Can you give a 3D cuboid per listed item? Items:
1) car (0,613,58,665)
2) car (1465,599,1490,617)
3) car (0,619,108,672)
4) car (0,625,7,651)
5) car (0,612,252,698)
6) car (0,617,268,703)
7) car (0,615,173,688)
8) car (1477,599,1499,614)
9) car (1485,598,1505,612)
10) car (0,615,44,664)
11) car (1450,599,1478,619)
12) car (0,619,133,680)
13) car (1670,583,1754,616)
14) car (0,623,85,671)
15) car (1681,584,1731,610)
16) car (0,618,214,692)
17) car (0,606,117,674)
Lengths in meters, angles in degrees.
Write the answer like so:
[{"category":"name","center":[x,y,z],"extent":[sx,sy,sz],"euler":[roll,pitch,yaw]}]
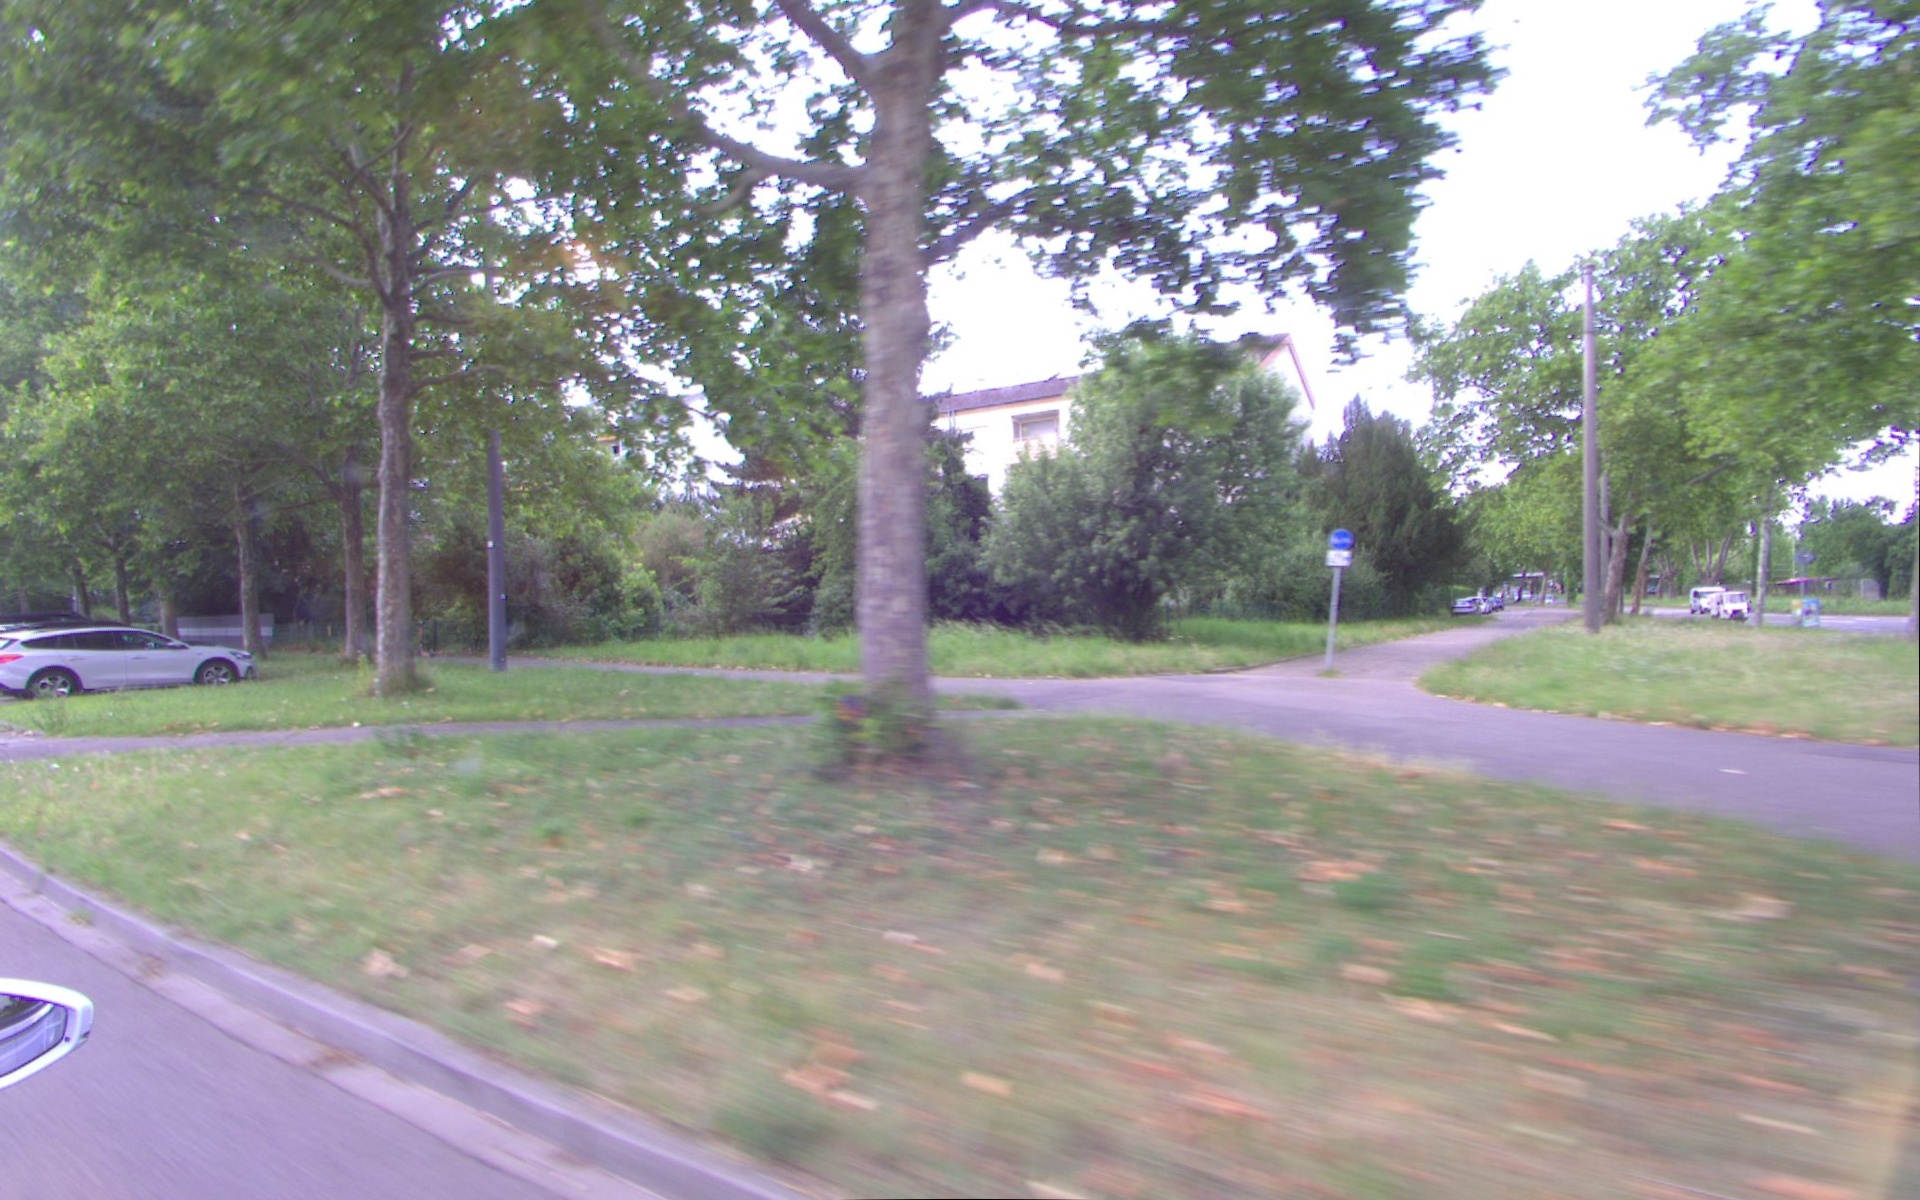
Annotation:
[{"category":"car","center":[-38.828,1.596,39.519],"extent":[1.833,2.027,4.526],"euler":[-1,1,38]},{"category":"car","center":[42.507,0.613,82.252],"extent":[1.655,1.409,3.289],"euler":[-1,0,31]},{"category":"car","center":[-34.479,1.694,36.857],"extent":[1.835,1.790,4.521],"euler":[-1,1,41]},{"category":"car","center":[-63.633,2.511,63.372],"extent":[1.833,1.630,4.526],"euler":[-1,0,38]},{"category":"car","center":[-19.344,1.185,23.034],"extent":[1.825,1.648,4.638],"euler":[-1,1,38]},{"category":"car","center":[-17.830,1.200,21.412],"extent":[1.825,1.493,4.638],"euler":[-1,1,38]},{"category":"car","center":[-23.513,1.324,26.213],"extent":[1.738,1.661,4.354],"euler":[-1,1,44]},{"category":"car","center":[50.501,0.618,95.816],"extent":[1.655,1.409,3.289],"euler":[-1,0,31]},{"category":"car","center":[54.937,0.515,102.721],"extent":[1.655,1.409,3.289],"euler":[-1,0,31]},{"category":"car","center":[-42.205,1.743,42.556],"extent":[1.833,2.070,4.526],"euler":[-1,1,38]},{"category":"car","center":[37.629,0.674,74.734],"extent":[1.655,1.409,3.289],"euler":[-1,0,31]},{"category":"car","center":[-27.494,1.454,29.883],"extent":[1.731,1.627,3.957],"euler":[-2,0,32]},{"category":"car","center":[37.187,-0.021,49.657],"extent":[1.965,1.533,4.677],"euler":[-2,-1,20]},{"category":"car","center":[-36.622,1.831,38.218],"extent":[1.833,1.682,4.527],"euler":[-1,0,37]},{"category":"car","center":[52.311,-0.175,70.277],"extent":[1.967,1.728,3.988],"euler":[-1,0,24]},{"category":"car","center":[-21.294,1.301,24.719],"extent":[1.738,1.521,4.354],"euler":[-1,1,44]},{"category":"car","center":[-31.787,1.348,34.024],"extent":[1.835,2.152,4.521],"euler":[-1,1,41]}]
